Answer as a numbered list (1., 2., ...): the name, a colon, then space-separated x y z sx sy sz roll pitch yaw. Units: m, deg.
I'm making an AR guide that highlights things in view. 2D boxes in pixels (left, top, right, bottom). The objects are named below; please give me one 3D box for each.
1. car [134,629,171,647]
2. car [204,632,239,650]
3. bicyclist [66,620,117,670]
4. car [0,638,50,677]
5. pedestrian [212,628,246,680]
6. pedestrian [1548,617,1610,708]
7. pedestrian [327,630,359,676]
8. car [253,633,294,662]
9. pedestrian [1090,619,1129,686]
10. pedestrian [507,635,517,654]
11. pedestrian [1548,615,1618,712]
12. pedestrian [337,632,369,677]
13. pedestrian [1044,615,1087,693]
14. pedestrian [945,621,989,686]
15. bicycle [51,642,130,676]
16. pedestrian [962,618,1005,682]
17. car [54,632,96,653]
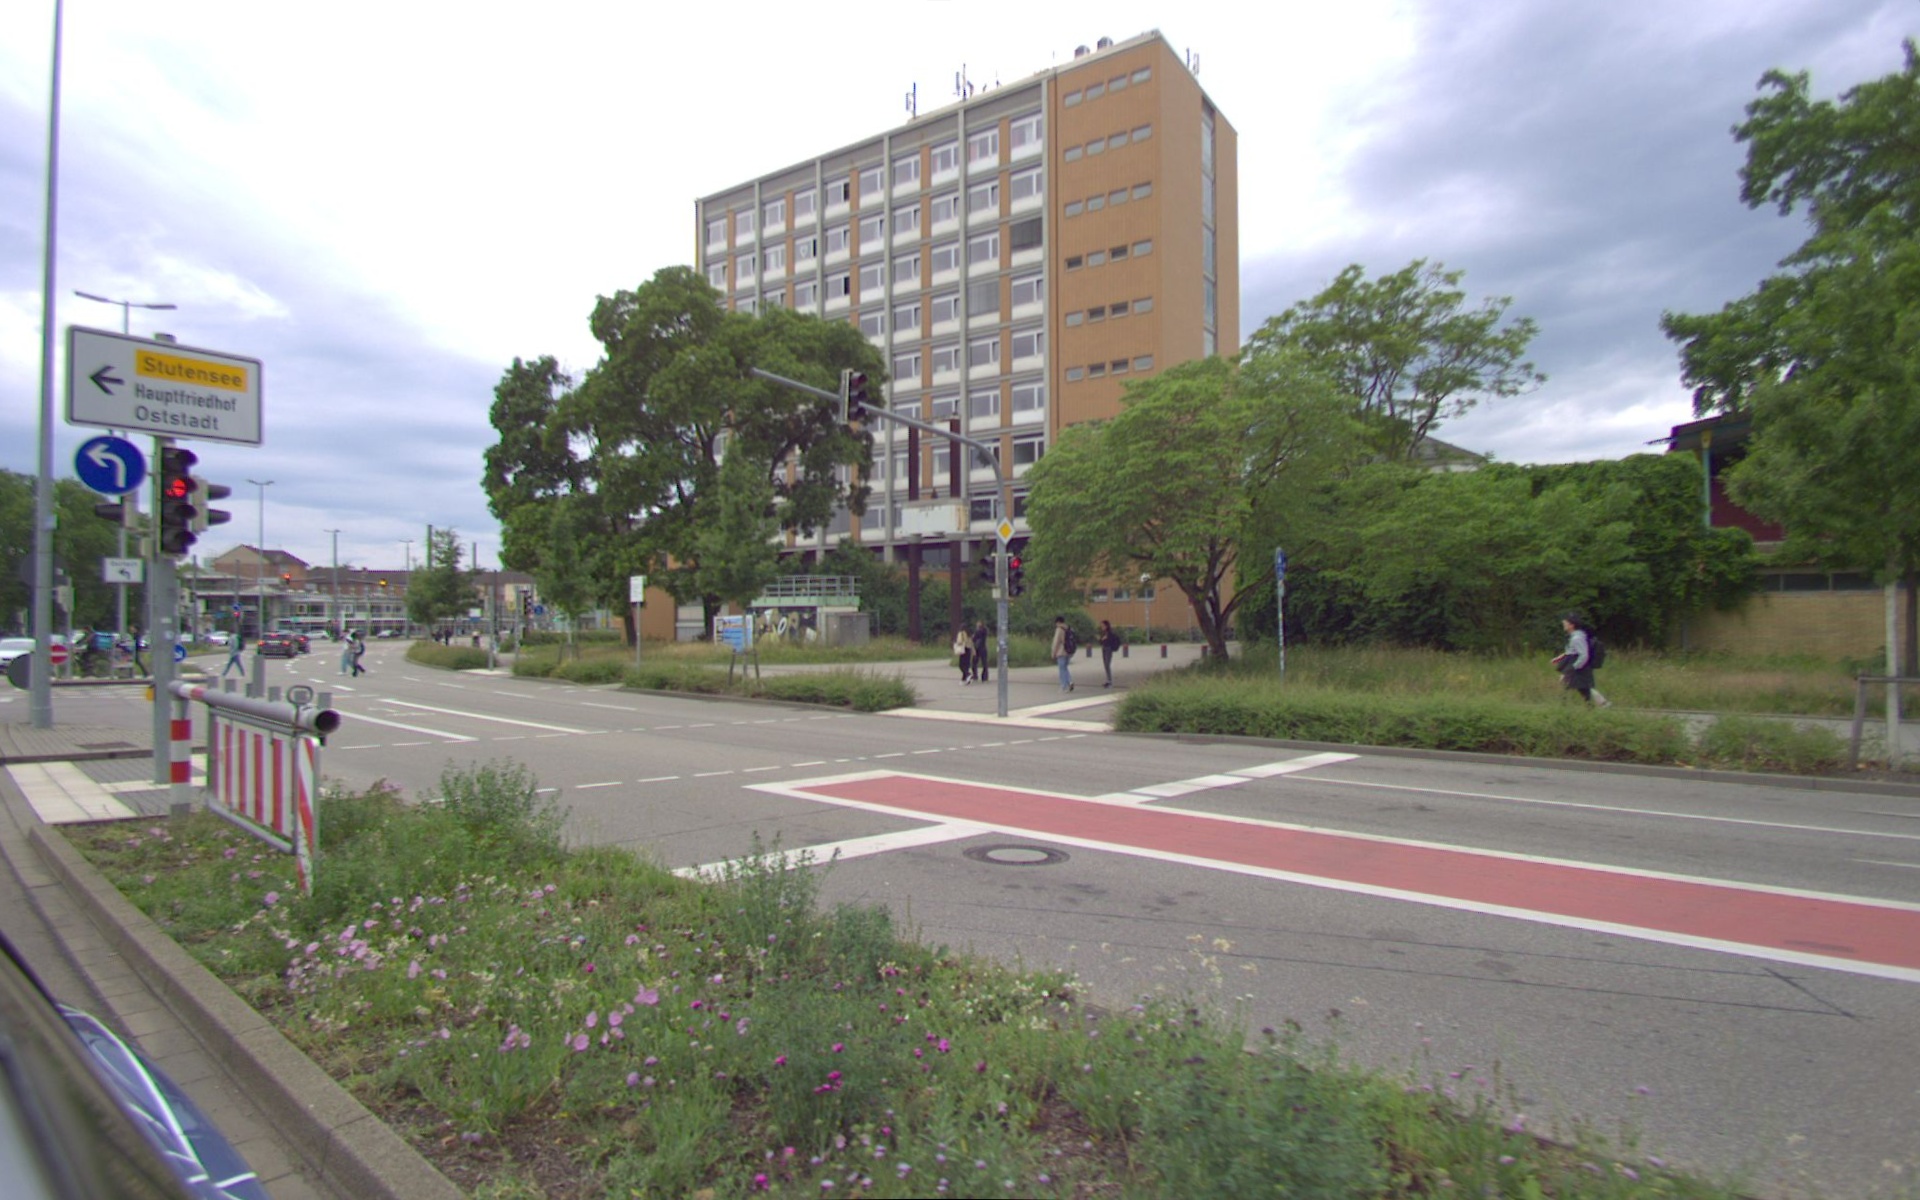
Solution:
1. car: -72.009 3.390 90.298 1.775 1.608 3.771 2 -3 -27
2. car: -79.277 4.442 108.722 1.965 1.830 4.013 1 -3 -21
3. bicyclist: -30.529 1.585 35.583 0.806 1.749 1.176 -2 -4 40
4. car: -39.131 2.361 41.974 1.758 1.474 3.879 0 -1 -38
5. pedestrian: -25.580 1.892 35.439 0.904 1.818 0.541 2 -4 -36
6. pedestrian: 10.418 1.046 17.030 0.761 1.491 0.628 -2 -4 42
7. pedestrian: -24.686 2.133 40.524 0.734 1.818 0.764 -1 -3 16
8. car: -43.387 2.993 63.997 1.786 1.680 3.961 2 -2 -29
9. pedestrian: 3.749 1.303 25.356 0.823 1.625 0.631 -2 -1 17
10. pedestrian: -40.486 4.030 91.462 0.644 1.633 0.471 3 -4 -44
11. pedestrian: 9.959 1.011 16.183 0.813 1.491 0.721 -2 -4 42
12. pedestrian: -23.075 2.076 38.484 0.704 1.680 0.769 -1 -3 30
13. pedestrian: 2.491 1.263 23.933 0.761 1.815 0.630 -2 -2 42
14. pedestrian: 0.182 1.429 27.133 0.943 1.683 0.699 -2 -2 42
15. bicycle: -30.547 2.055 35.568 0.806 1.151 1.980 -2 -4 40
16. pedestrian: 0.650 1.354 27.714 0.889 1.683 0.699 -2 -1 42
17. car: -64.793 3.146 74.124 1.790 1.486 4.043 2 -3 -34
